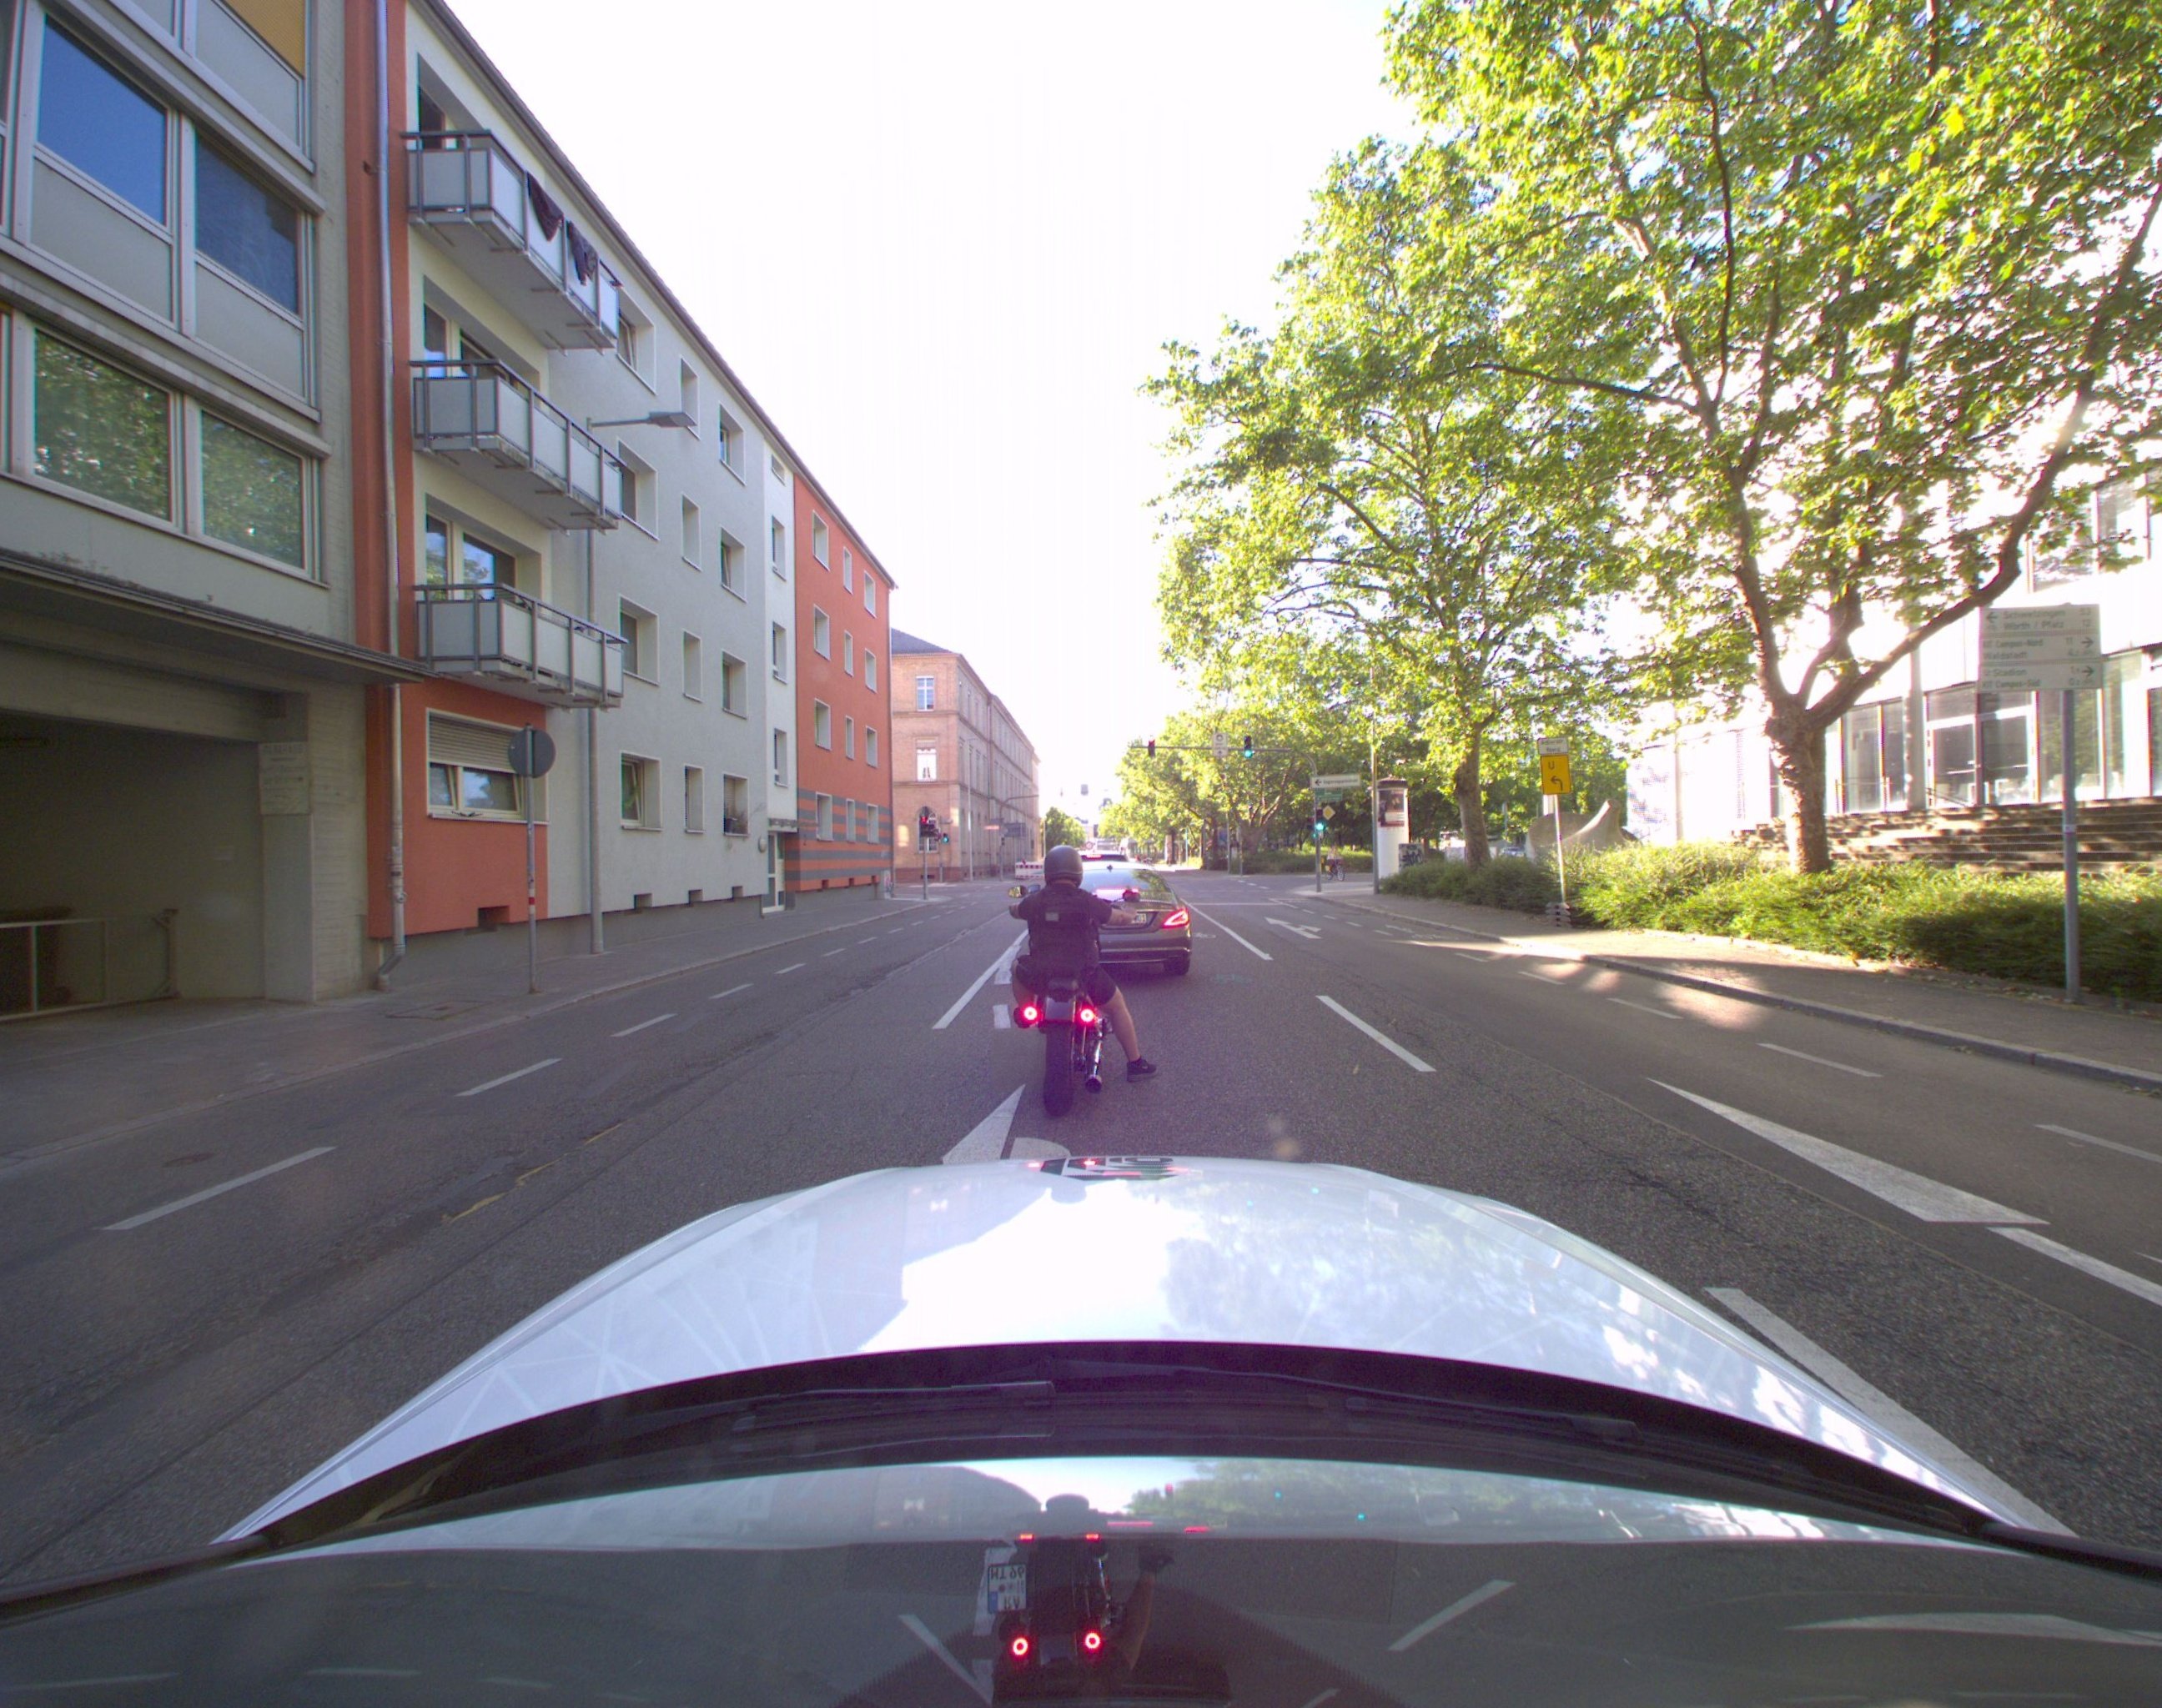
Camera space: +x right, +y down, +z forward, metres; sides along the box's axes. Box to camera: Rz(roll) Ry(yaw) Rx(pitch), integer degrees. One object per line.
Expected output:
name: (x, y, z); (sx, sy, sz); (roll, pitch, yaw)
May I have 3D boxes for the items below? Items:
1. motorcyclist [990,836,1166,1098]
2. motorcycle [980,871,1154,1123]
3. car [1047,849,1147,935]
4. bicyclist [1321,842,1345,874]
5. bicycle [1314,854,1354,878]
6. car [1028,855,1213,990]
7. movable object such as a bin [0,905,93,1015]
motorcyclist: (-0.007, 0.692, 5.404); (1.057, 1.582, 0.908); (0, -1, 1)
motorcycle: (-0.042, 0.817, 5.674); (0.958, 1.357, 2.321); (0, -1, 2)
car: (0.268, 0.700, 16.909); (1.808, 1.536, 3.847); (-1, 0, -1)
bicyclist: (12.721, 0.212, 41.145); (0.719, 1.582, 0.929); (0, -1, -21)
bicycle: (12.753, 0.592, 41.046); (0.718, 1.172, 2.160); (0, -1, -22)
car: (0.319, 0.762, 11.237); (1.900, 1.441, 4.279); (-1, 0, -6)
movable object such as a bin: (-11.326, 1.105, 8.662); (0.736, 1.074, 0.716); (0, -1, 2)
